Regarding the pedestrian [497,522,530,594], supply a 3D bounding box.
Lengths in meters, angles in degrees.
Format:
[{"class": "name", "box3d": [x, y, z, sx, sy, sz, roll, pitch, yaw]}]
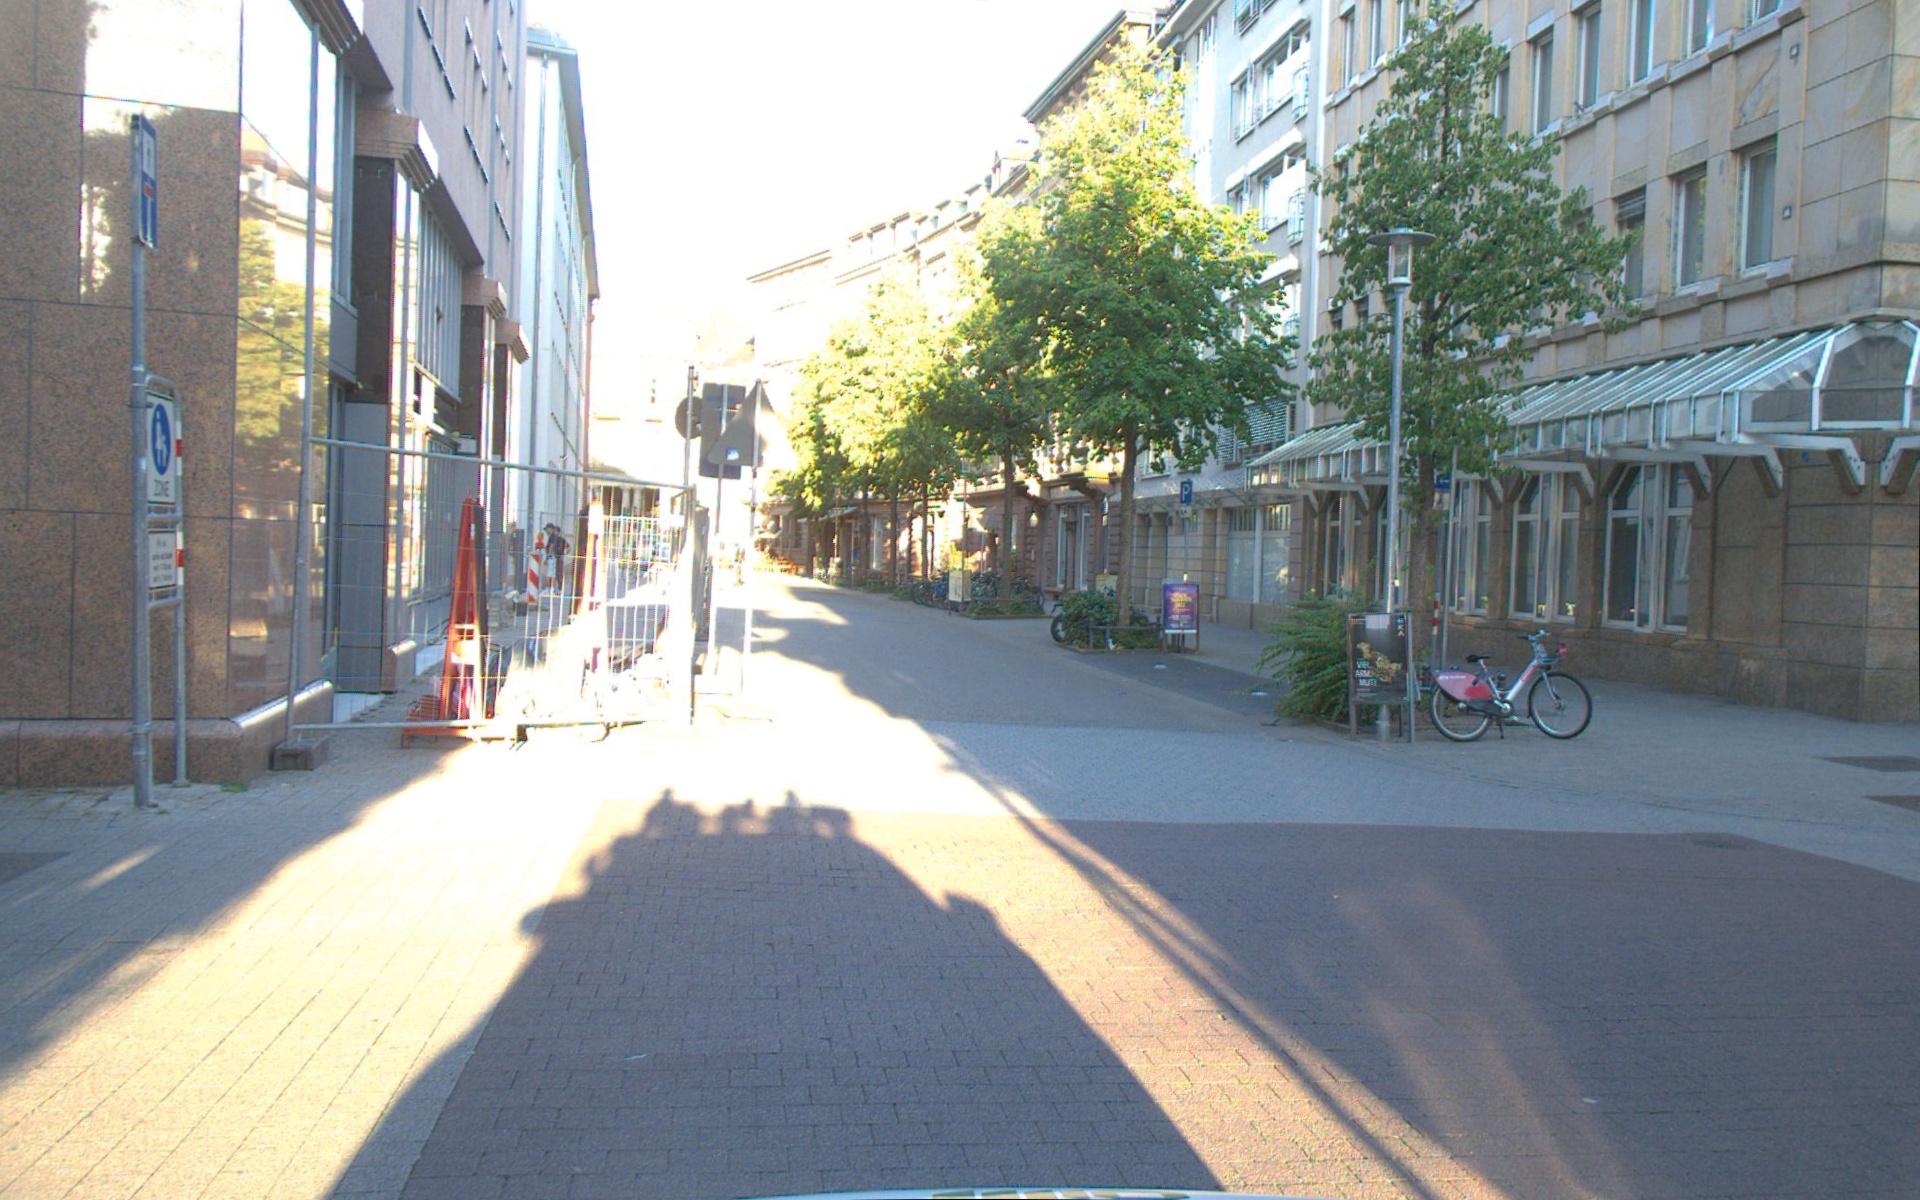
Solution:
[{"class": "pedestrian", "box3d": [-11.061, -1.049, 40.968, 0.641, 1.755, 0.633, 2, 1, -4]}]

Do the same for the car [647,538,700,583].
[{"class": "car", "box3d": [-11.543, -1.616, 66.516, 1.810, 1.713, 3.632, 1, 2, -14]}]

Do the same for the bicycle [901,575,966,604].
[{"class": "bicycle", "box3d": [-0.892, -0.360, 56.058, 2.118, 0.942, 0.588, 1, 1, -17]}]

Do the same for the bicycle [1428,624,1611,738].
[{"class": "bicycle", "box3d": [5.525, 0.795, 16.406, 1.620, 1.069, 0.663, -1, 2, 9]}]

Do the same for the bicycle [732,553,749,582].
[{"class": "bicycle", "box3d": [-8.734, -1.287, 65.889, 0.578, 1.114, 2.155, 1, 1, -10]}]

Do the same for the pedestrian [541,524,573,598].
[{"class": "pedestrian", "box3d": [-9.989, -0.970, 41.035, 0.641, 1.794, 0.633, 2, 1, -4]}]

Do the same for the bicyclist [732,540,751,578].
[{"class": "bicyclist", "box3d": [-8.697, -1.628, 65.847, 0.708, 1.494, 0.716, 2, 2, -11]}]

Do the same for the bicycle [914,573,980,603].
[{"class": "bicycle", "box3d": [-0.434, -0.394, 55.252, 2.118, 0.942, 0.588, 1, 1, -17]}]

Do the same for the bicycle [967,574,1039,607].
[{"class": "bicycle", "box3d": [1.292, -0.279, 50.048, 2.125, 0.942, 0.586, 1, 1, -25]}]

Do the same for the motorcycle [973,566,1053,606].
[{"class": "motorcycle", "box3d": [1.567, -0.405, 49.019, 2.446, 1.114, 0.584, 1, 1, -32]}]

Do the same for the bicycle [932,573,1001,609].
[{"class": "bicycle", "box3d": [0.205, -0.283, 51.839, 2.107, 1.079, 0.591, 2, 1, 5]}]

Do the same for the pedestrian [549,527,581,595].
[{"class": "pedestrian", "box3d": [-9.938, -0.983, 41.597, 0.641, 1.680, 0.633, 2, 1, -4]}]

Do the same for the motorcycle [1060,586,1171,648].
[{"class": "motorcycle", "box3d": [3.060, 0.340, 32.602, 2.115, 1.171, 0.492, 1, 1, -12]}]

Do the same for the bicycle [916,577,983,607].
[{"class": "bicycle", "box3d": [-0.347, -0.261, 54.032, 2.118, 0.942, 0.588, 1, 1, -17]}]
